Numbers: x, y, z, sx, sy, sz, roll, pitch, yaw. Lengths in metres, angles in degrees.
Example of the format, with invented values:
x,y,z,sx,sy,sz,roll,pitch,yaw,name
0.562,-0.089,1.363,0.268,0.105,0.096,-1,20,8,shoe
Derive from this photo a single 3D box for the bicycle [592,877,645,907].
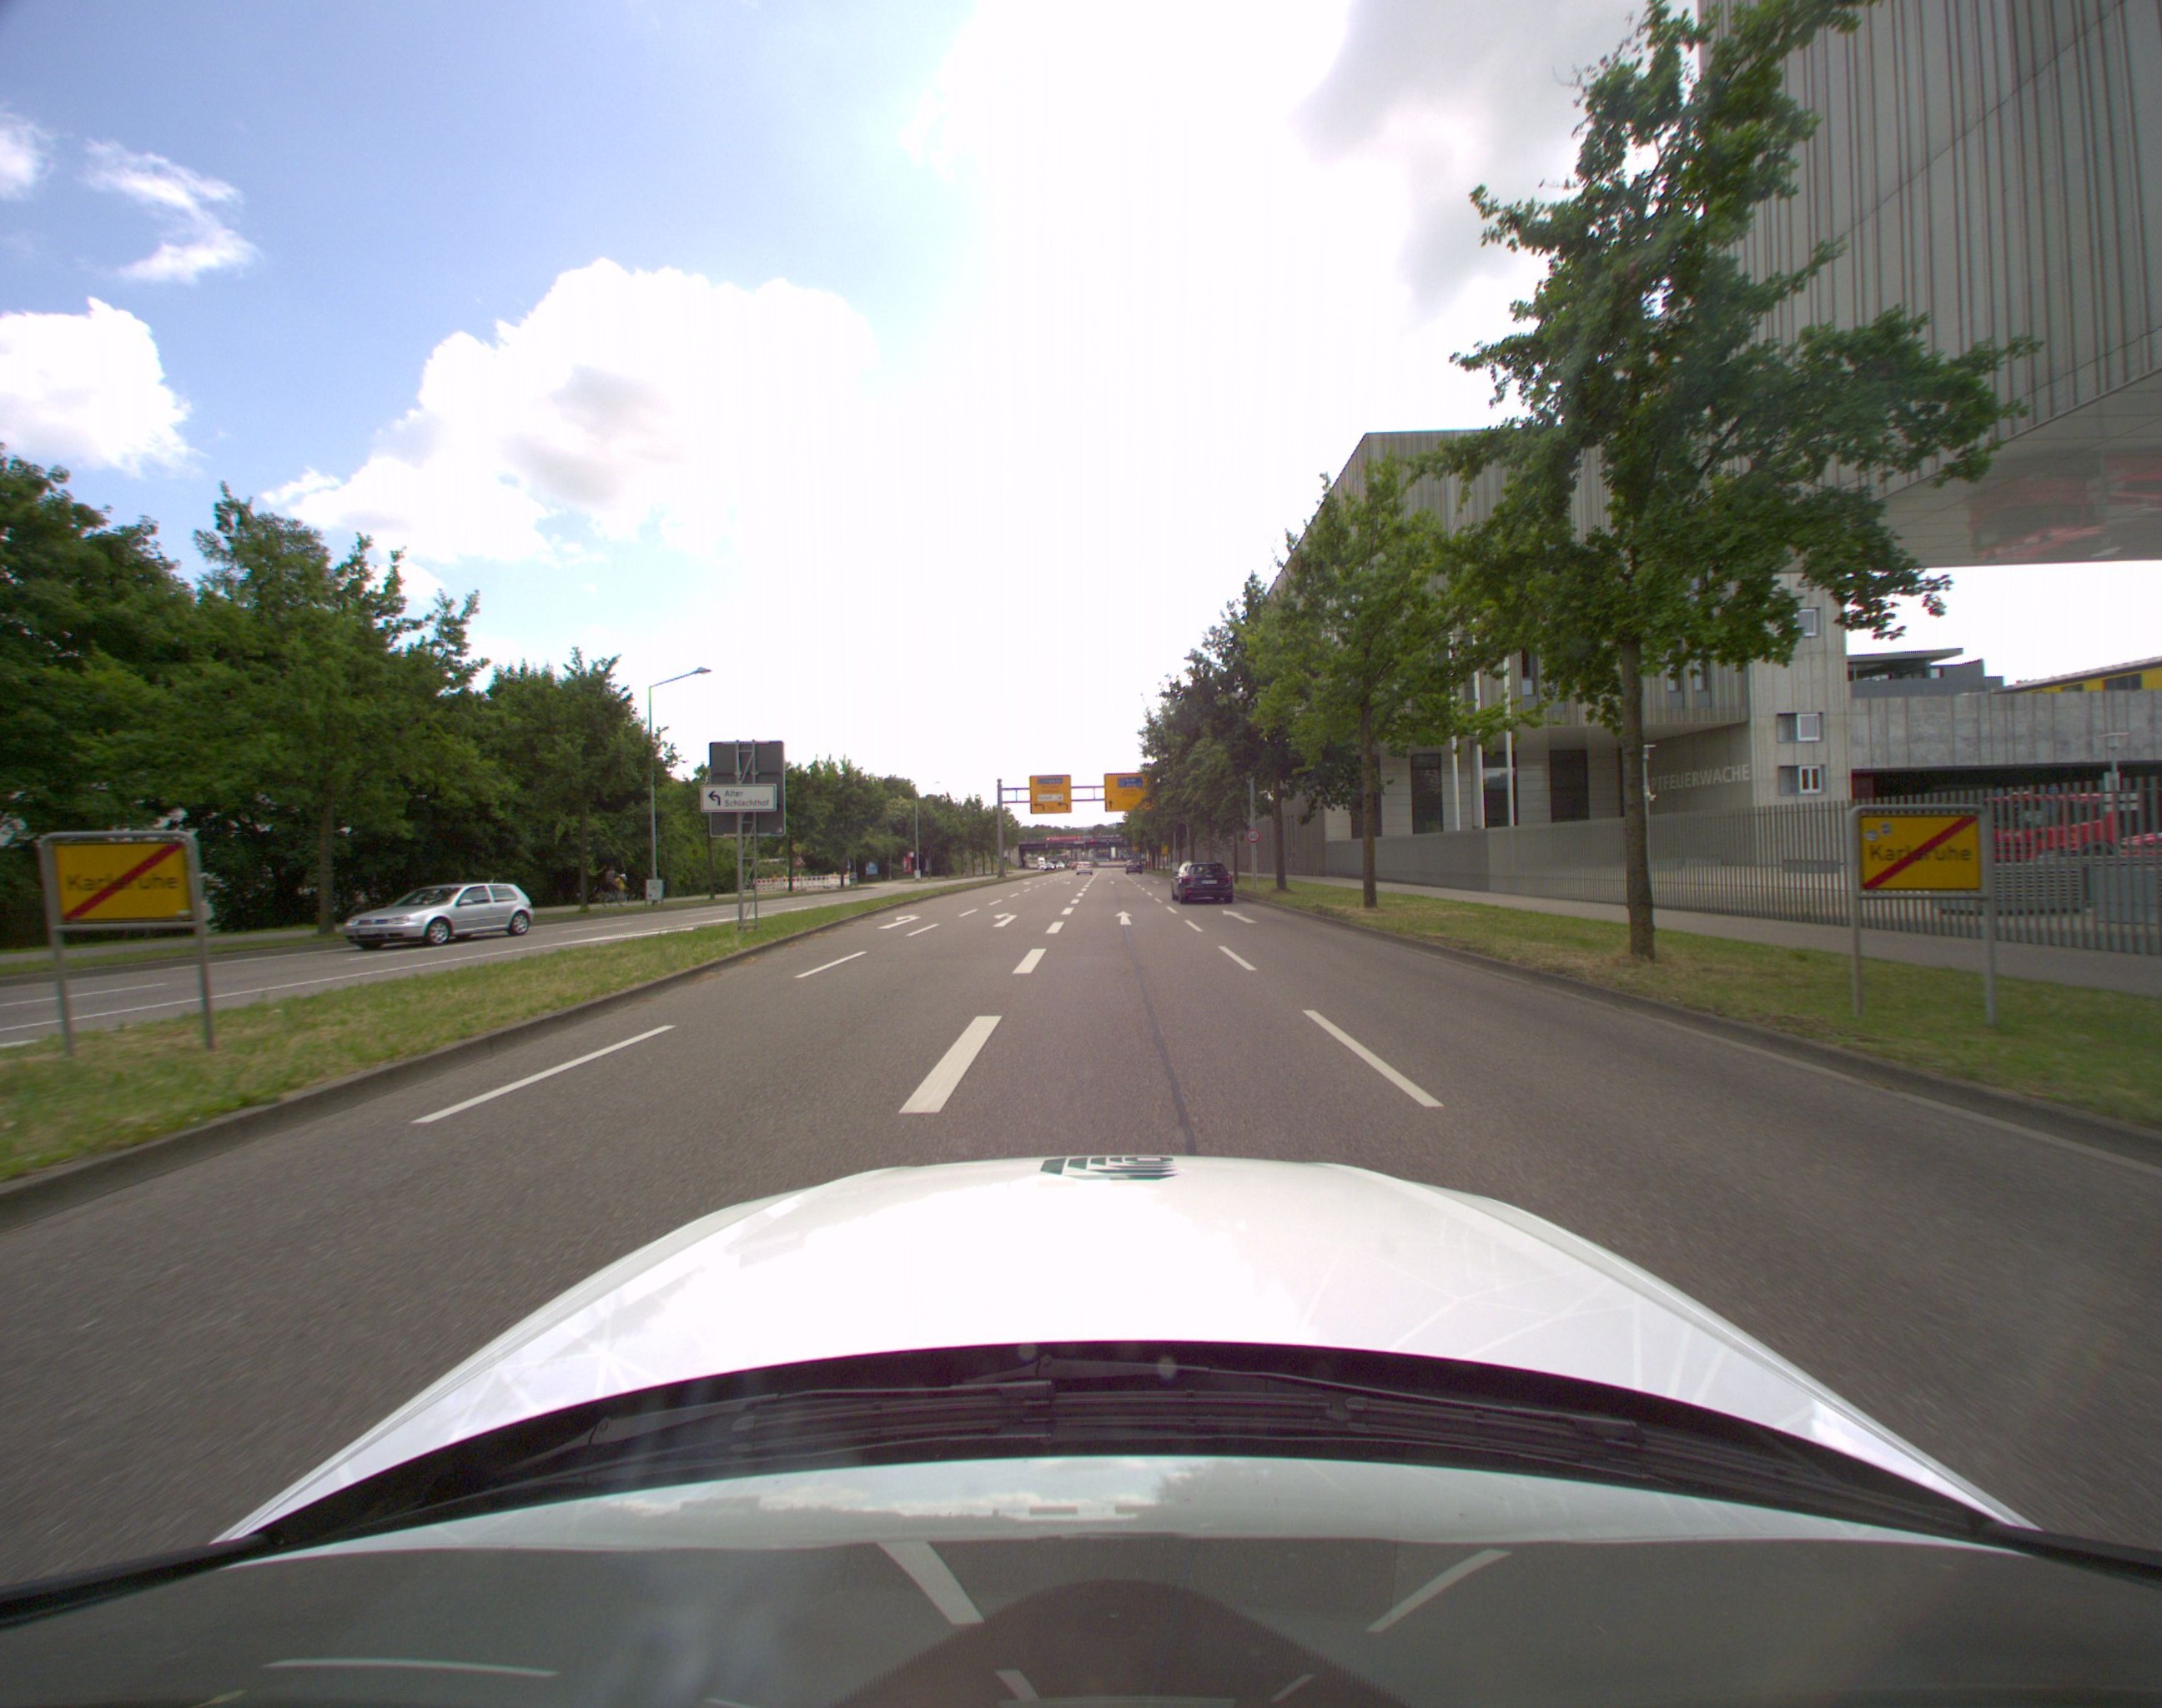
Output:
x,y,z,sx,sy,sz,roll,pitch,yaw,name
-20.449,1.659,36.067,0.804,1.226,2.503,-2,0,2,bicycle

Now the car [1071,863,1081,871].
x,y,z,sx,sy,sz,roll,pitch,yaw,name
-0.995,2.322,148.867,1.769,1.463,3.998,0,-1,-1,car

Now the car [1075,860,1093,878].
x,y,z,sx,sy,sz,roll,pitch,yaw,name
0.365,1.653,92.235,1.988,2.014,3.998,0,-1,-1,car

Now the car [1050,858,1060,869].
x,y,z,sx,sy,sz,roll,pitch,yaw,name
-6.651,2.537,209.347,1.984,2.641,5.242,0,-2,5,car

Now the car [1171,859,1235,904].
x,y,z,sx,sy,sz,roll,pitch,yaw,name
4.192,0.918,28.472,1.678,1.463,4.000,0,-1,1,car

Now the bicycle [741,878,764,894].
x,y,z,sx,sy,sz,roll,pitch,yaw,name
-23.671,2.302,58.645,0.888,1.059,2.337,-1,-1,-38,bicycle

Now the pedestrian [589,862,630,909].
x,y,z,sx,sy,sz,roll,pitch,yaw,name
-20.766,1.377,35.874,0.966,2.013,1.250,-2,0,3,pedestrian

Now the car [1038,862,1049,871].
x,y,z,sx,sy,sz,roll,pitch,yaw,name
-7.908,2.717,172.475,1.987,1.783,4.000,0,-2,1,car

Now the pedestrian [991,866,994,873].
x,y,z,sx,sy,sz,roll,pitch,yaw,name
-17.717,3.162,163.271,0.556,1.400,0.563,0,-2,0,pedestrian

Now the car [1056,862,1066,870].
x,y,z,sx,sy,sz,roll,pitch,yaw,name
-4.589,2.848,188.712,1.986,1.717,4.001,0,-2,2,car

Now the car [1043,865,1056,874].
x,y,z,sx,sy,sz,roll,pitch,yaw,name
-5.921,2.863,154.493,1.985,1.618,4.003,-2,-1,3,car

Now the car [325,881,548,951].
x,y,z,sx,sy,sz,roll,pitch,yaw,name
-15.337,1.420,19.745,1.632,1.329,4.387,-2,0,5,car

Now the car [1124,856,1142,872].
x,y,z,sx,sy,sz,roll,pitch,yaw,name
6.144,1.138,95.375,1.985,1.626,4.314,-2,0,4,car

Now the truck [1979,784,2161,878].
x,y,z,sx,sy,sz,roll,pitch,yaw,name
35.038,-0.732,28.032,5.674,3.070,2.318,0,-2,0,truck
